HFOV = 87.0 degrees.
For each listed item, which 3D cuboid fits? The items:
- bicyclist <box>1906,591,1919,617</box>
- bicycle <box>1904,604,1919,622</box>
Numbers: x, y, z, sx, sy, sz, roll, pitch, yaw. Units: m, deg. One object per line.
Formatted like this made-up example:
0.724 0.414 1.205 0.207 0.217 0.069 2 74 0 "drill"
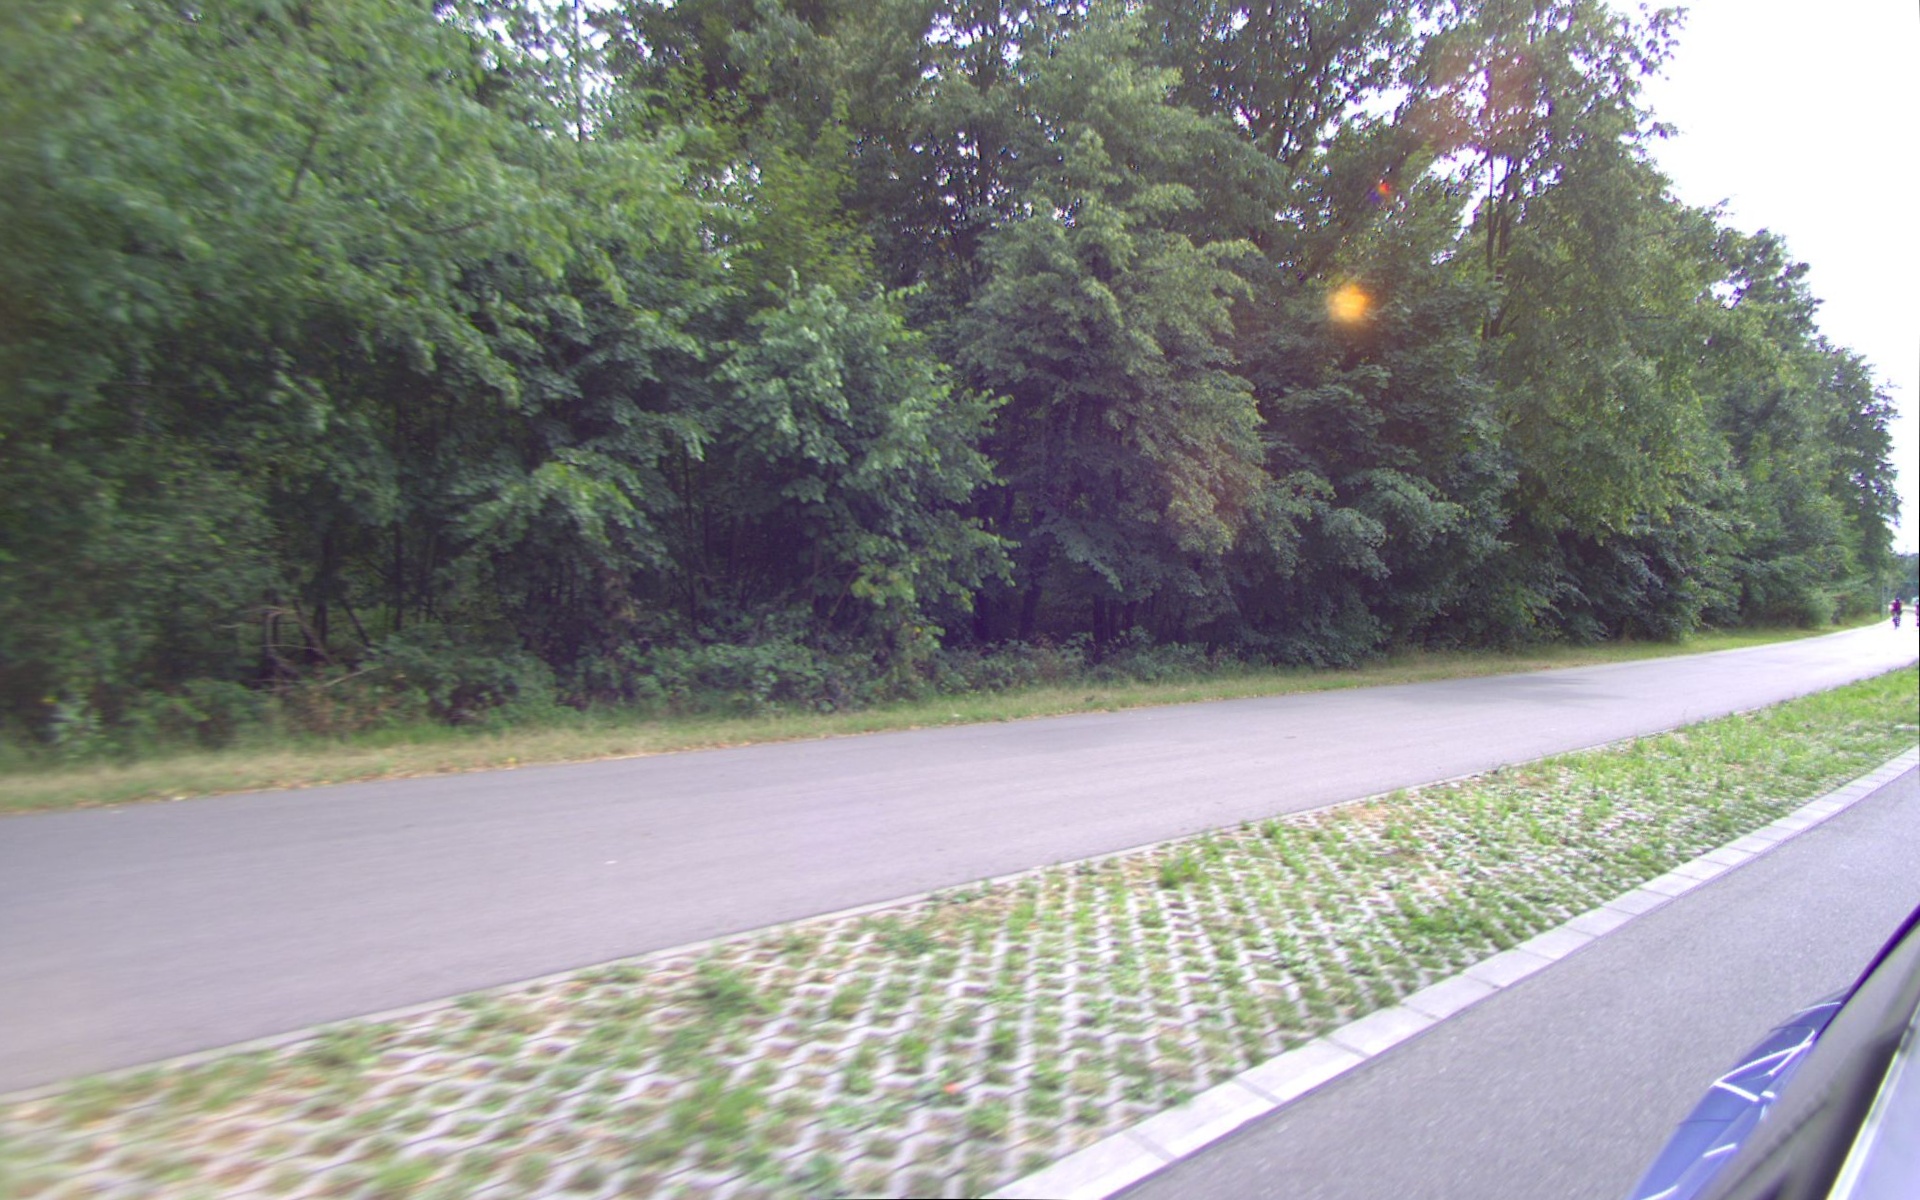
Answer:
53.195 0.237 56.499 0.519 1.433 1.168 0 0 43 "bicyclist"
53.145 0.717 56.478 0.566 0.922 1.858 6 3 42 "bicycle"
